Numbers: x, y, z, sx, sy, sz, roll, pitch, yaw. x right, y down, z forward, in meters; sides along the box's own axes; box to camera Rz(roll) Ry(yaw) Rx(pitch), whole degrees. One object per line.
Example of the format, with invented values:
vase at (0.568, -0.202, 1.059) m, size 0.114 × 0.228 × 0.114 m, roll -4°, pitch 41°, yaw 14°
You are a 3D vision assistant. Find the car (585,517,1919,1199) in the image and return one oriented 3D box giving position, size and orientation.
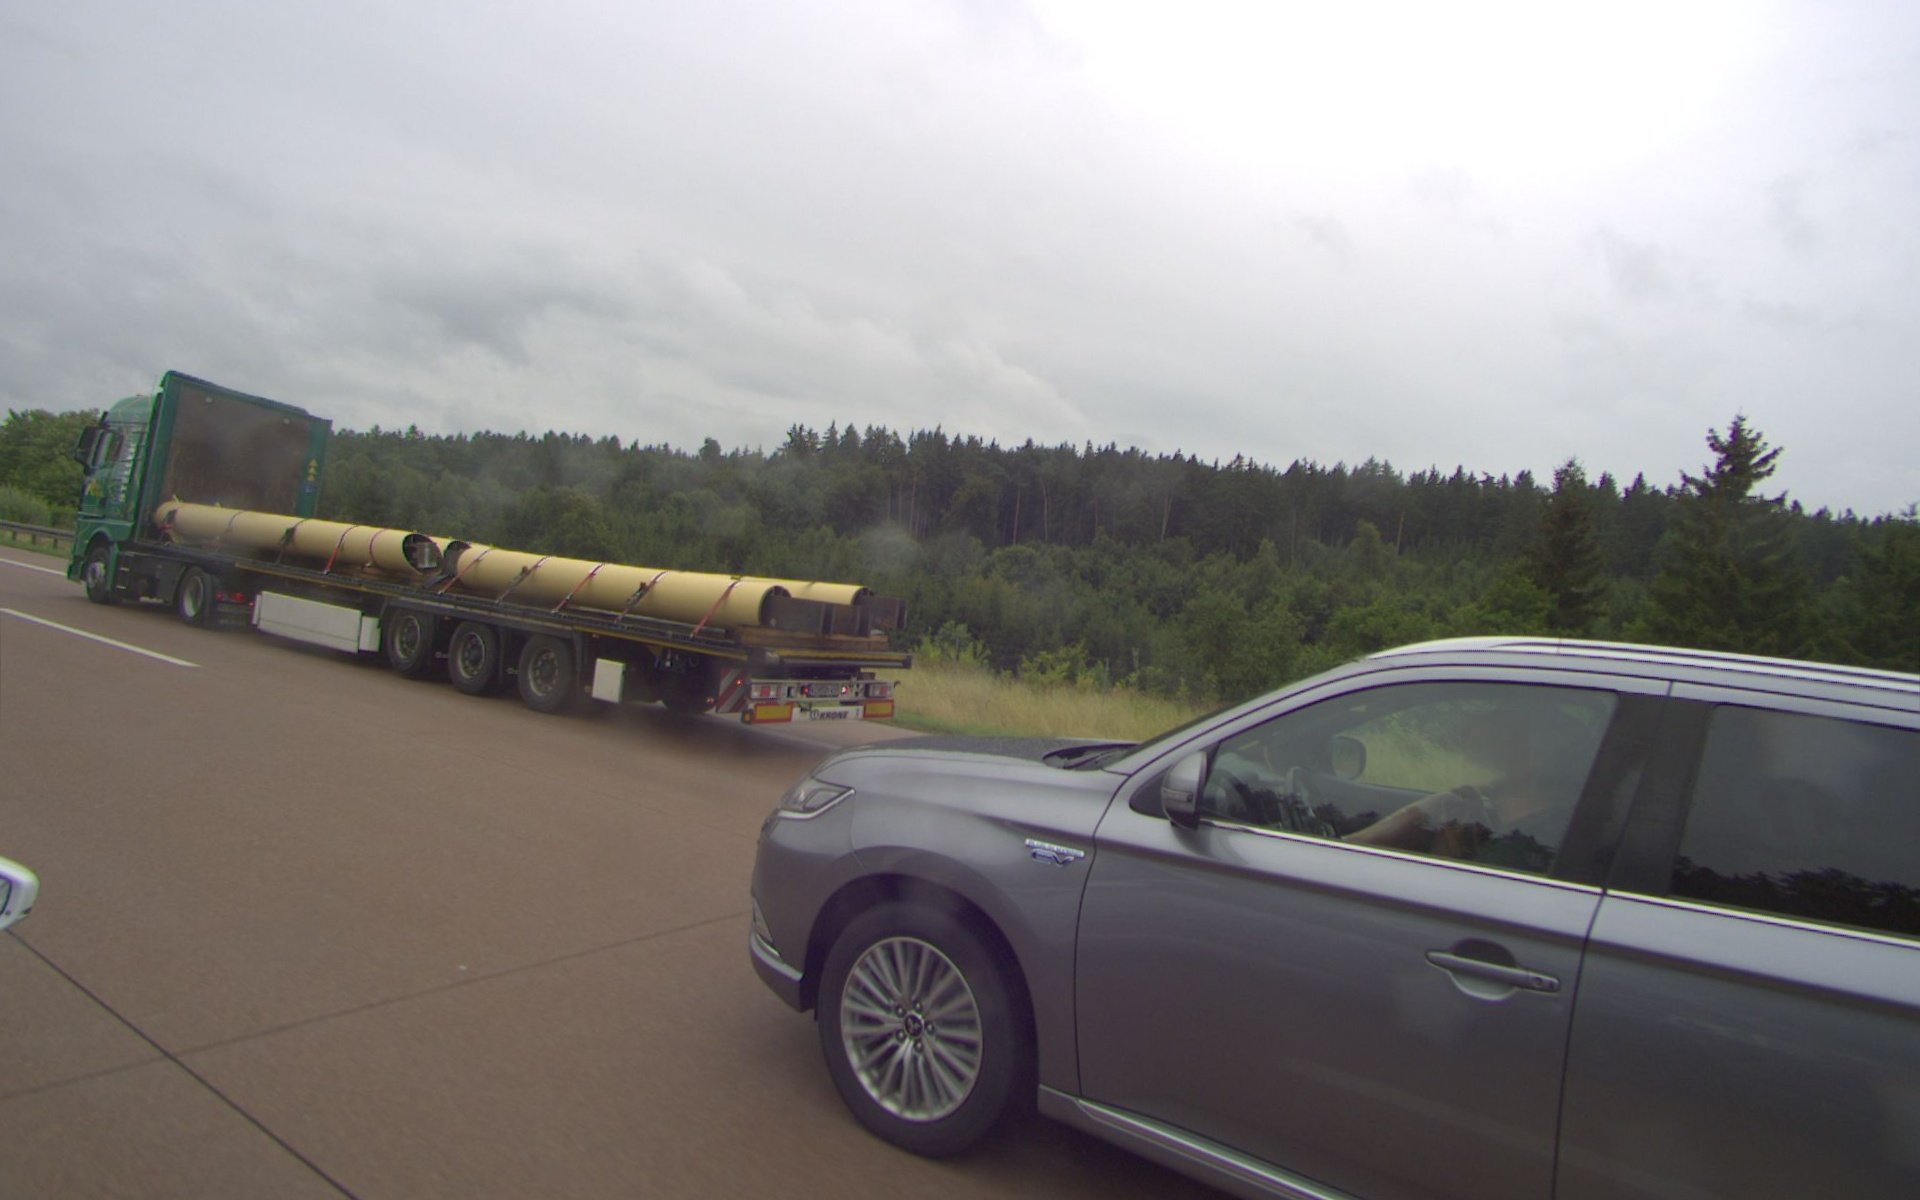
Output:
car at (1.679, 0.819, 2.892) m, size 5.725 × 1.611 × 1.997 m, roll 5°, pitch -2°, yaw 32°

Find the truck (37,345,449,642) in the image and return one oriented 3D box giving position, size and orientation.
truck at (-12.330, -1.715, 17.153) m, size 6.873 × 4.010 × 2.903 m, roll 5°, pitch -2°, yaw 31°

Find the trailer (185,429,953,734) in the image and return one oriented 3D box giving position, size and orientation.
trailer at (-5.710, -0.455, 13.049) m, size 11.210 × 2.706 × 2.887 m, roll 5°, pitch -2°, yaw 31°
